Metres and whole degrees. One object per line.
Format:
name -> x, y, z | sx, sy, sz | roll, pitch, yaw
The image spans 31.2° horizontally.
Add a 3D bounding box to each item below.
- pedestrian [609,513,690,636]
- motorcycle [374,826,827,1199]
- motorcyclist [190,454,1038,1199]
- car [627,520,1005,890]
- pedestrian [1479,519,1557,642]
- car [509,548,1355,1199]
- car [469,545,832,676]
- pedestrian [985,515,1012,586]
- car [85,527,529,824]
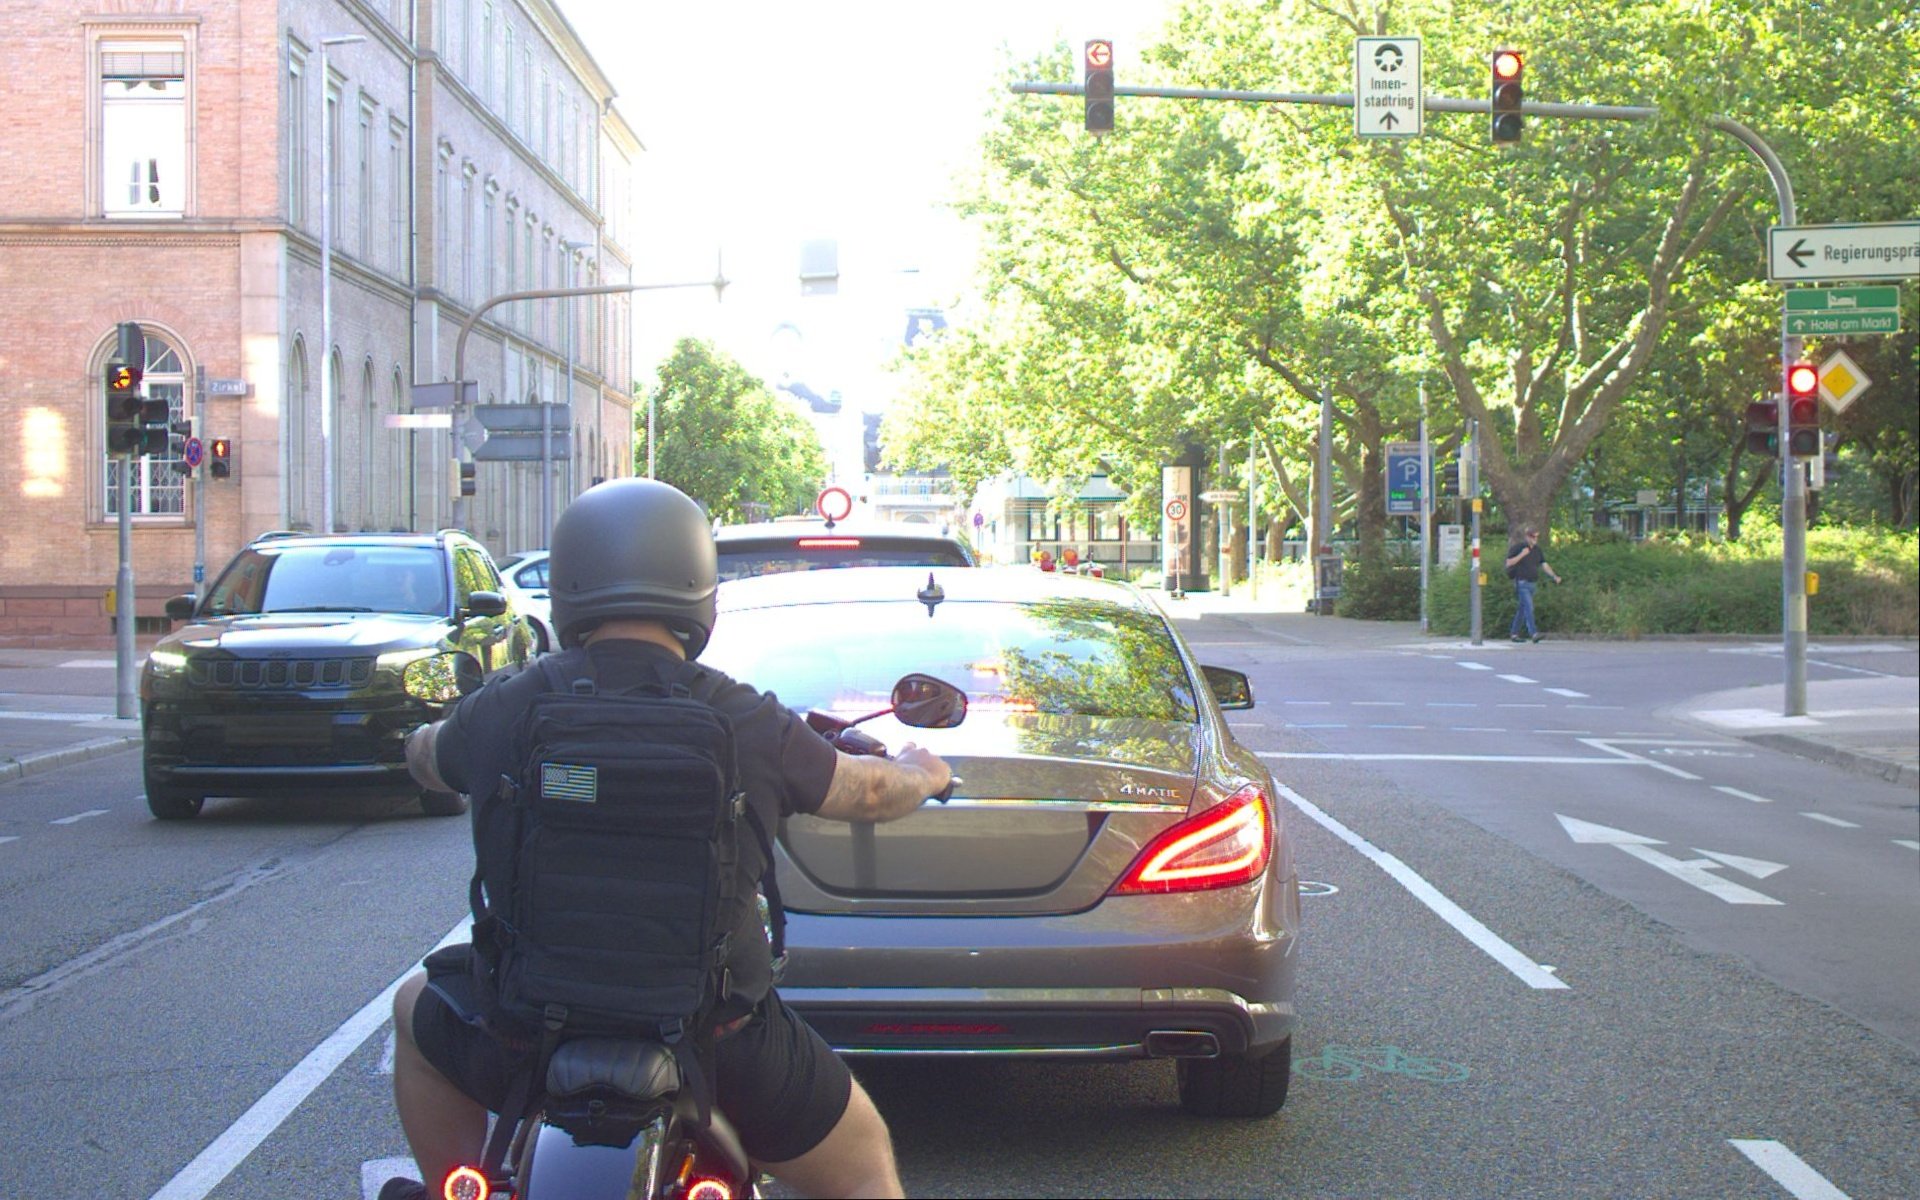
pedestrian -> -4.666, -0.386, 51.754 | 1.002, 1.820, 1.076 | 1, 0, 6
motorcycle -> -0.498, 0.930, 5.349 | 0.513, 0.999, 2.013 | 1, 1, -1
motorcyclist -> -0.485, 0.598, 5.361 | 1.149, 1.593, 1.288 | 1, 0, -1
car -> -0.639, 0.414, 16.753 | 1.621, 1.588, 4.000 | 0, 1, -1
pedestrian -> 8.744, -0.311, 53.867 | 0.925, 1.903, 0.750 | 1, 1, 40
car -> -0.085, 0.598, 9.638 | 1.882, 1.444, 3.820 | 1, 1, -1
car -> -3.862, 0.130, 42.846 | 4.121, 1.569, 1.859 | 1, 1, -23
pedestrian -> 1.130, -1.454, 100.821 | 0.764, 2.044, 0.712 | 1, 0, -1
car -> -3.774, 0.384, 20.613 | 1.850, 1.565, 4.386 | 1, 1, -1
